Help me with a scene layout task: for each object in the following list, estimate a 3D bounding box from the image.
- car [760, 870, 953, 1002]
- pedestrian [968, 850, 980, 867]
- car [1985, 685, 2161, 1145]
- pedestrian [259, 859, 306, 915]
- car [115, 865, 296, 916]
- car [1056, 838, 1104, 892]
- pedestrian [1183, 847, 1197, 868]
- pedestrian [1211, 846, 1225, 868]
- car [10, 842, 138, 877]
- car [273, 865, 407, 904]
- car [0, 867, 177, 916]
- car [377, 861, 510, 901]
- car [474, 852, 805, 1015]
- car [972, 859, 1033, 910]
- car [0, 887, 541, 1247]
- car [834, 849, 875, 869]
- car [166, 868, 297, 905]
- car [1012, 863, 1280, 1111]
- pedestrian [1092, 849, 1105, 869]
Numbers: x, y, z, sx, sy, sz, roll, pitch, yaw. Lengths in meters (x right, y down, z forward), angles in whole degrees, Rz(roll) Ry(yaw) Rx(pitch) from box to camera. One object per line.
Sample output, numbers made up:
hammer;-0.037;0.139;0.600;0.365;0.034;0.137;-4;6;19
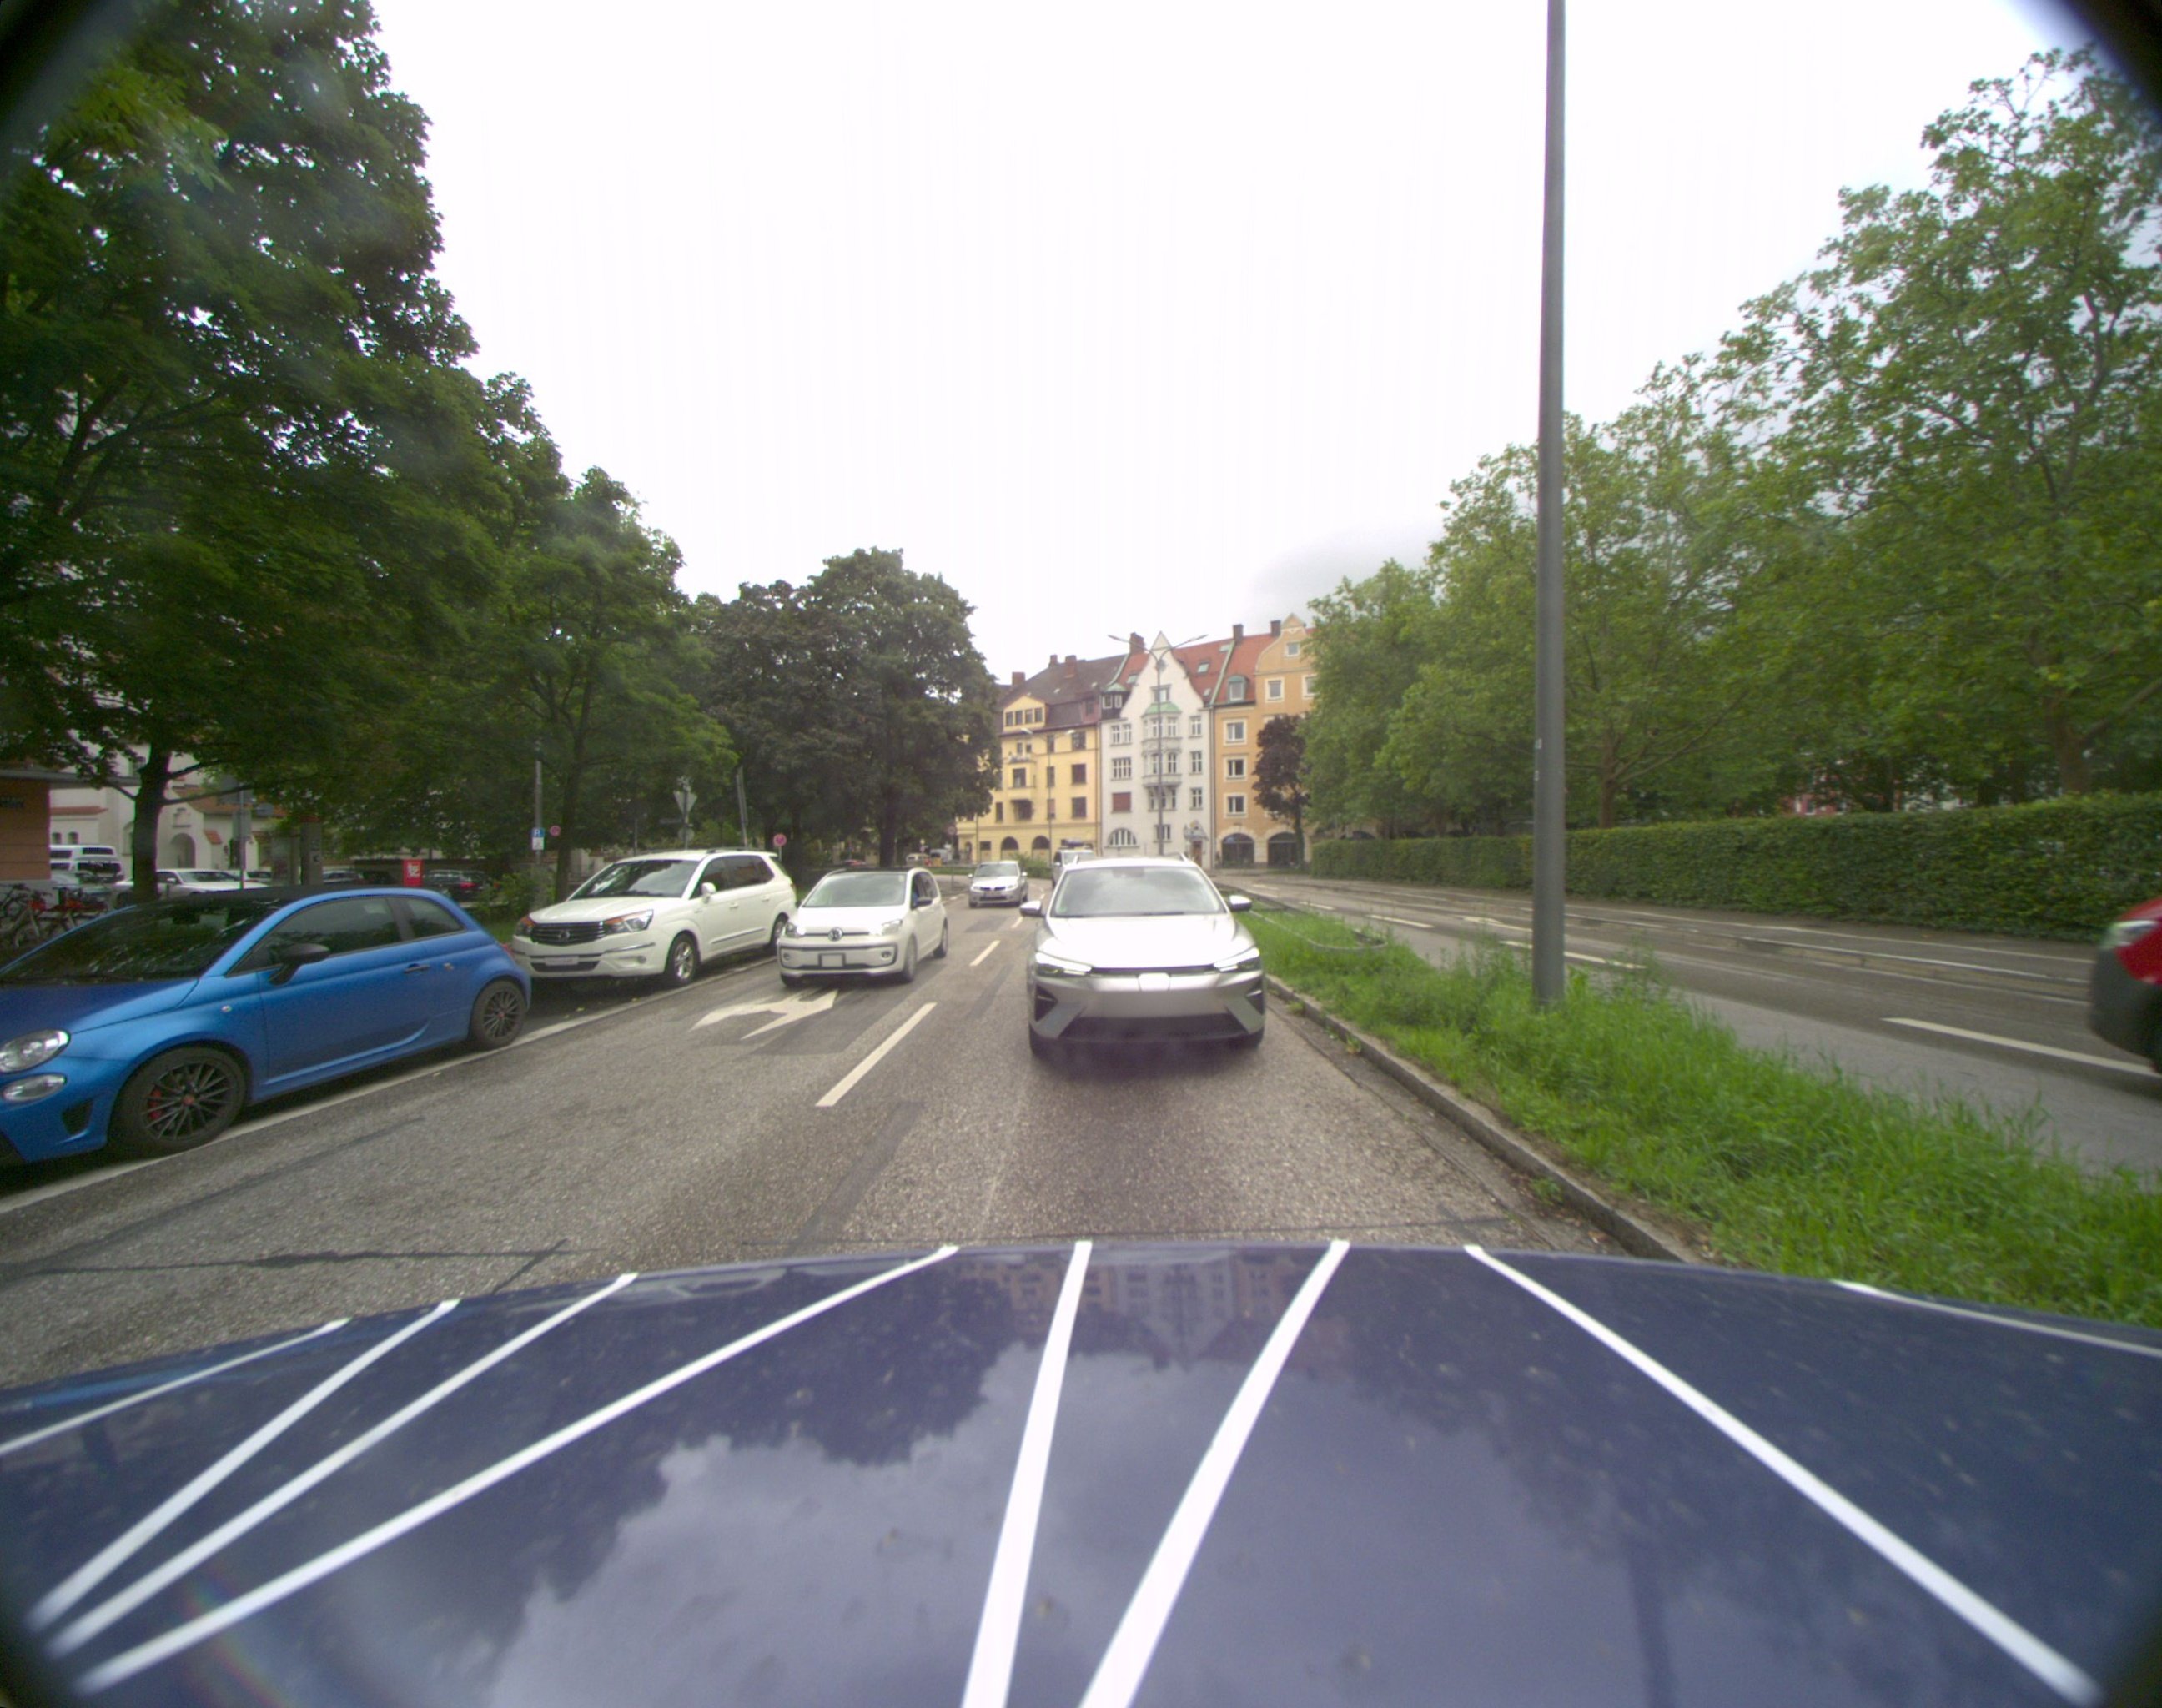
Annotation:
car;-2.941;1.000;10.745;1.648;1.457;3.619;0;0;0
pedestrian;-12.493;0.514;88.548;1.005;2.002;0.880;-1;1;32
car;6.918;0.302;2.023;2.108;2.573;6.084;0;-1;5
pedestrian;-23.140;0.947;22.028;0.602;1.543;0.644;-2;1;7
car;-29.096;1.189;25.295;4.436;1.458;1.862;-2;1;10
car;-0.127;0.468;35.060;1.913;2.337;4.943;0;0;-4
pedestrian;10.621;0.318;74.263;1.005;2.002;0.880;-1;1;32
pedestrian;12.923;0.267;71.838;1.005;2.002;0.880;-1;1;32
car;-48.361;0.244;36.522;4.436;1.458;1.862;-2;1;10
car;-32.366;1.329;33.238;4.436;1.458;1.862;-2;1;10
car;-34.224;1.267;26.220;4.436;1.458;1.862;-2;1;10
car;-27.061;1.139;32.322;4.436;1.458;1.862;-2;1;10
car;-5.953;0.905;11.179;1.848;1.845;5.024;-1;0;1
car;-2.570;0.965;25.675;1.648;1.521;3.886;0;0;0
car;-5.819;1.085;5.234;1.523;1.540;3.662;-1;0;1
car;-24.368;0.580;81.822;3.989;2.002;2.003;-2;1;31
car;-38.565;1.462;34.532;4.436;1.458;1.862;-2;1;10
car;0.417;0.876;6.812;1.710;1.521;3.886;0;0;0
pedestrian;1.838;0.522;78.941;1.005;2.002;0.880;-1;1;32
